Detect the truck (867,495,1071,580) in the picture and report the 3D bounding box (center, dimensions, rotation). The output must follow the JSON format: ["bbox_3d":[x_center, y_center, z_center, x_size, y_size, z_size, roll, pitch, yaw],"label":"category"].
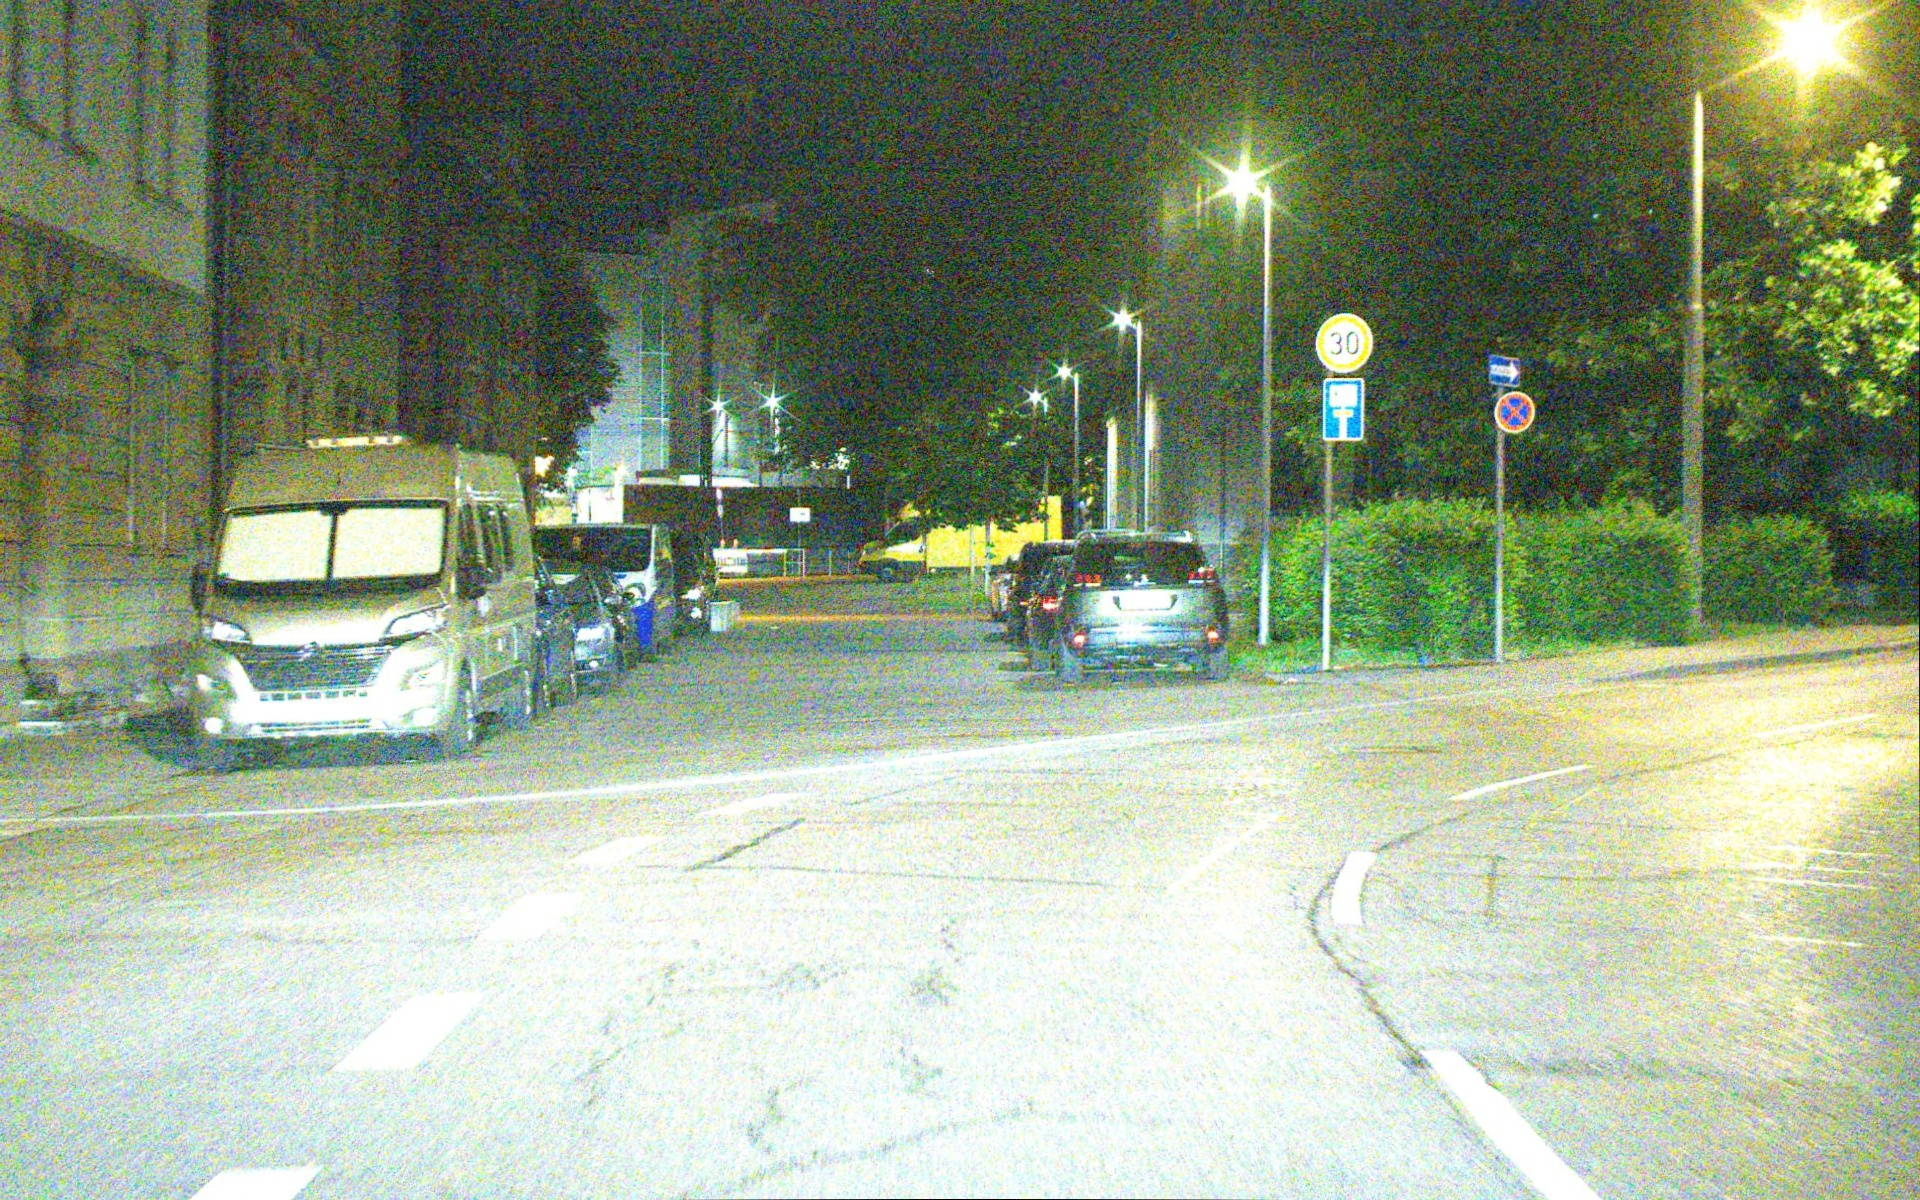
[{"bbox_3d":[0.281,-2.105,115.969,6.775,2.834,2.000,0,1,-3],"label":"truck"}]

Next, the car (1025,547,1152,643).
[{"bbox_3d":[2.052,-0.113,56.008,1.880,1.410,4.473,-2,1,0],"label":"car"}]

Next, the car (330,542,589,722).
[{"bbox_3d":[-4.800,0.260,33.543,1.892,1.585,4.374,-2,1,-1],"label":"car"}]

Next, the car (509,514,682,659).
[{"bbox_3d":[-5.140,-0.224,49.052,1.993,1.948,4.806,-1,1,-1],"label":"car"}]

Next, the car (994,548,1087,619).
[{"bbox_3d":[1.677,-0.371,72.777,1.758,1.440,4.026,-1,1,-1],"label":"car"}]

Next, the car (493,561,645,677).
[{"bbox_3d":[-4.948,0.214,43.905,1.691,1.393,4.079,-1,1,-3],"label":"car"}]

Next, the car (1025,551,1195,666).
[{"bbox_3d":[1.863,0.089,43.752,1.963,1.378,4.000,-1,0,0],"label":"car"}]

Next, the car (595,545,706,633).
[{"bbox_3d":[-5.496,-0.194,61.382,1.705,1.505,4.100,1,0,-1],"label":"car"}]

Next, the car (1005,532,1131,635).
[{"bbox_3d":[1.889,-0.306,61.577,2.040,1.688,4.882,-3,1,0],"label":"car"}]

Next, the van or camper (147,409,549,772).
[{"bbox_3d":[-4.798,-0.108,27.993,2.158,2.527,6.227,-3,1,-1],"label":"van or camper"}]

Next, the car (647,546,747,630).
[{"bbox_3d":[-5.108,-0.236,67.138,1.677,1.561,4.105,-1,0,-1],"label":"car"}]

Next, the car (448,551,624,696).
[{"bbox_3d":[-4.811,0.216,38.971,1.838,1.502,4.743,-1,1,-7],"label":"car"}]

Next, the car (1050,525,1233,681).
[{"bbox_3d":[1.977,0.008,38.457,1.884,1.597,4.107,-2,1,1],"label":"car"}]
